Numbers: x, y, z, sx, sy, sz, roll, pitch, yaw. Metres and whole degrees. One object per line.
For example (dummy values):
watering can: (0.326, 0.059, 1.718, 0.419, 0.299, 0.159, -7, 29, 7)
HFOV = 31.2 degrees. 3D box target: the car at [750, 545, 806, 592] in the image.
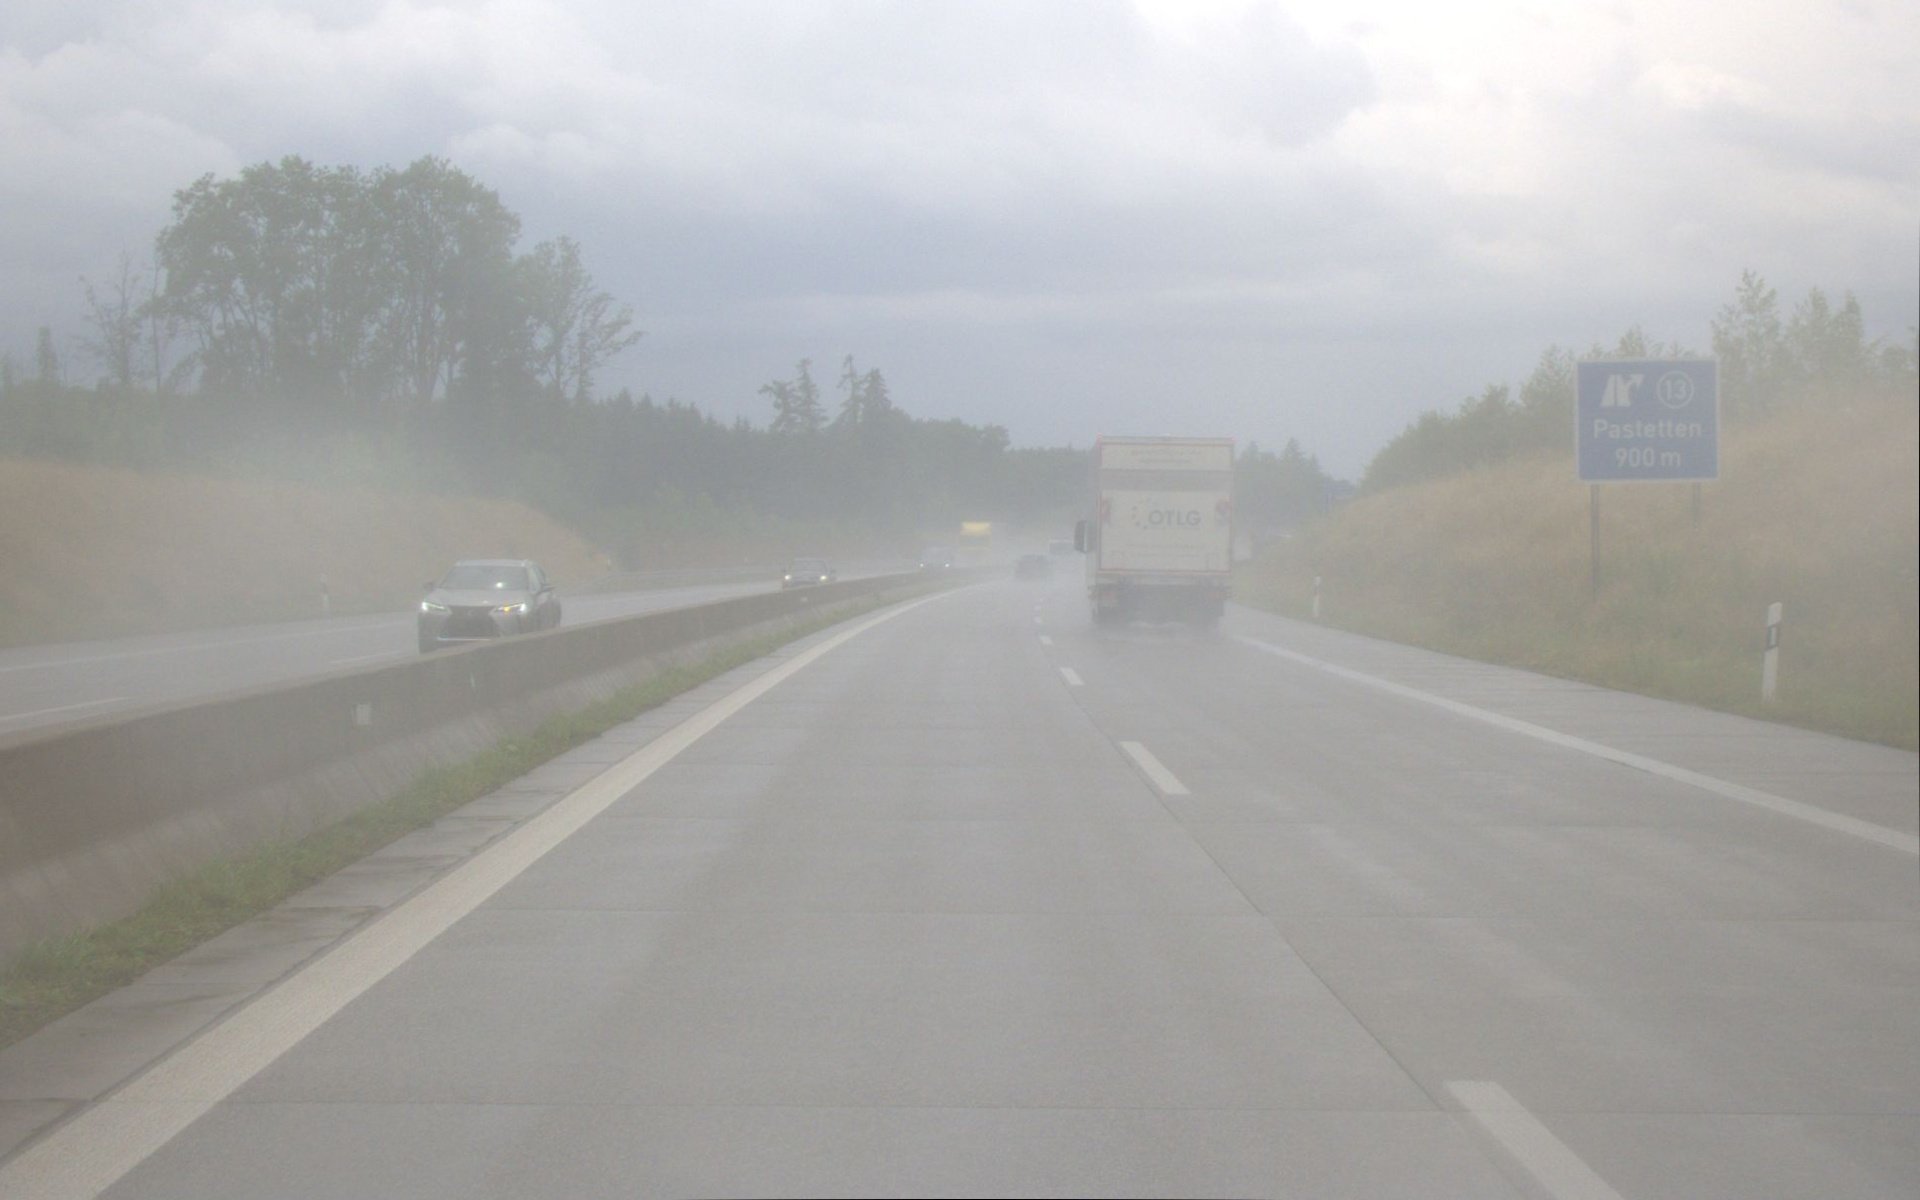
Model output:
car: (-6.258, -1.107, 118.664, 1.623, 1.423, 4.001, -2, 2, 1)

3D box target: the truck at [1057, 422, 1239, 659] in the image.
truck: (3.631, -1.241, 68.396, 3.243, 4.421, 8.246, 0, 2, 1)

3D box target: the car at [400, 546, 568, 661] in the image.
car: (-7.435, 0.025, 54.072, 1.993, 1.513, 4.189, -2, 3, 0)
